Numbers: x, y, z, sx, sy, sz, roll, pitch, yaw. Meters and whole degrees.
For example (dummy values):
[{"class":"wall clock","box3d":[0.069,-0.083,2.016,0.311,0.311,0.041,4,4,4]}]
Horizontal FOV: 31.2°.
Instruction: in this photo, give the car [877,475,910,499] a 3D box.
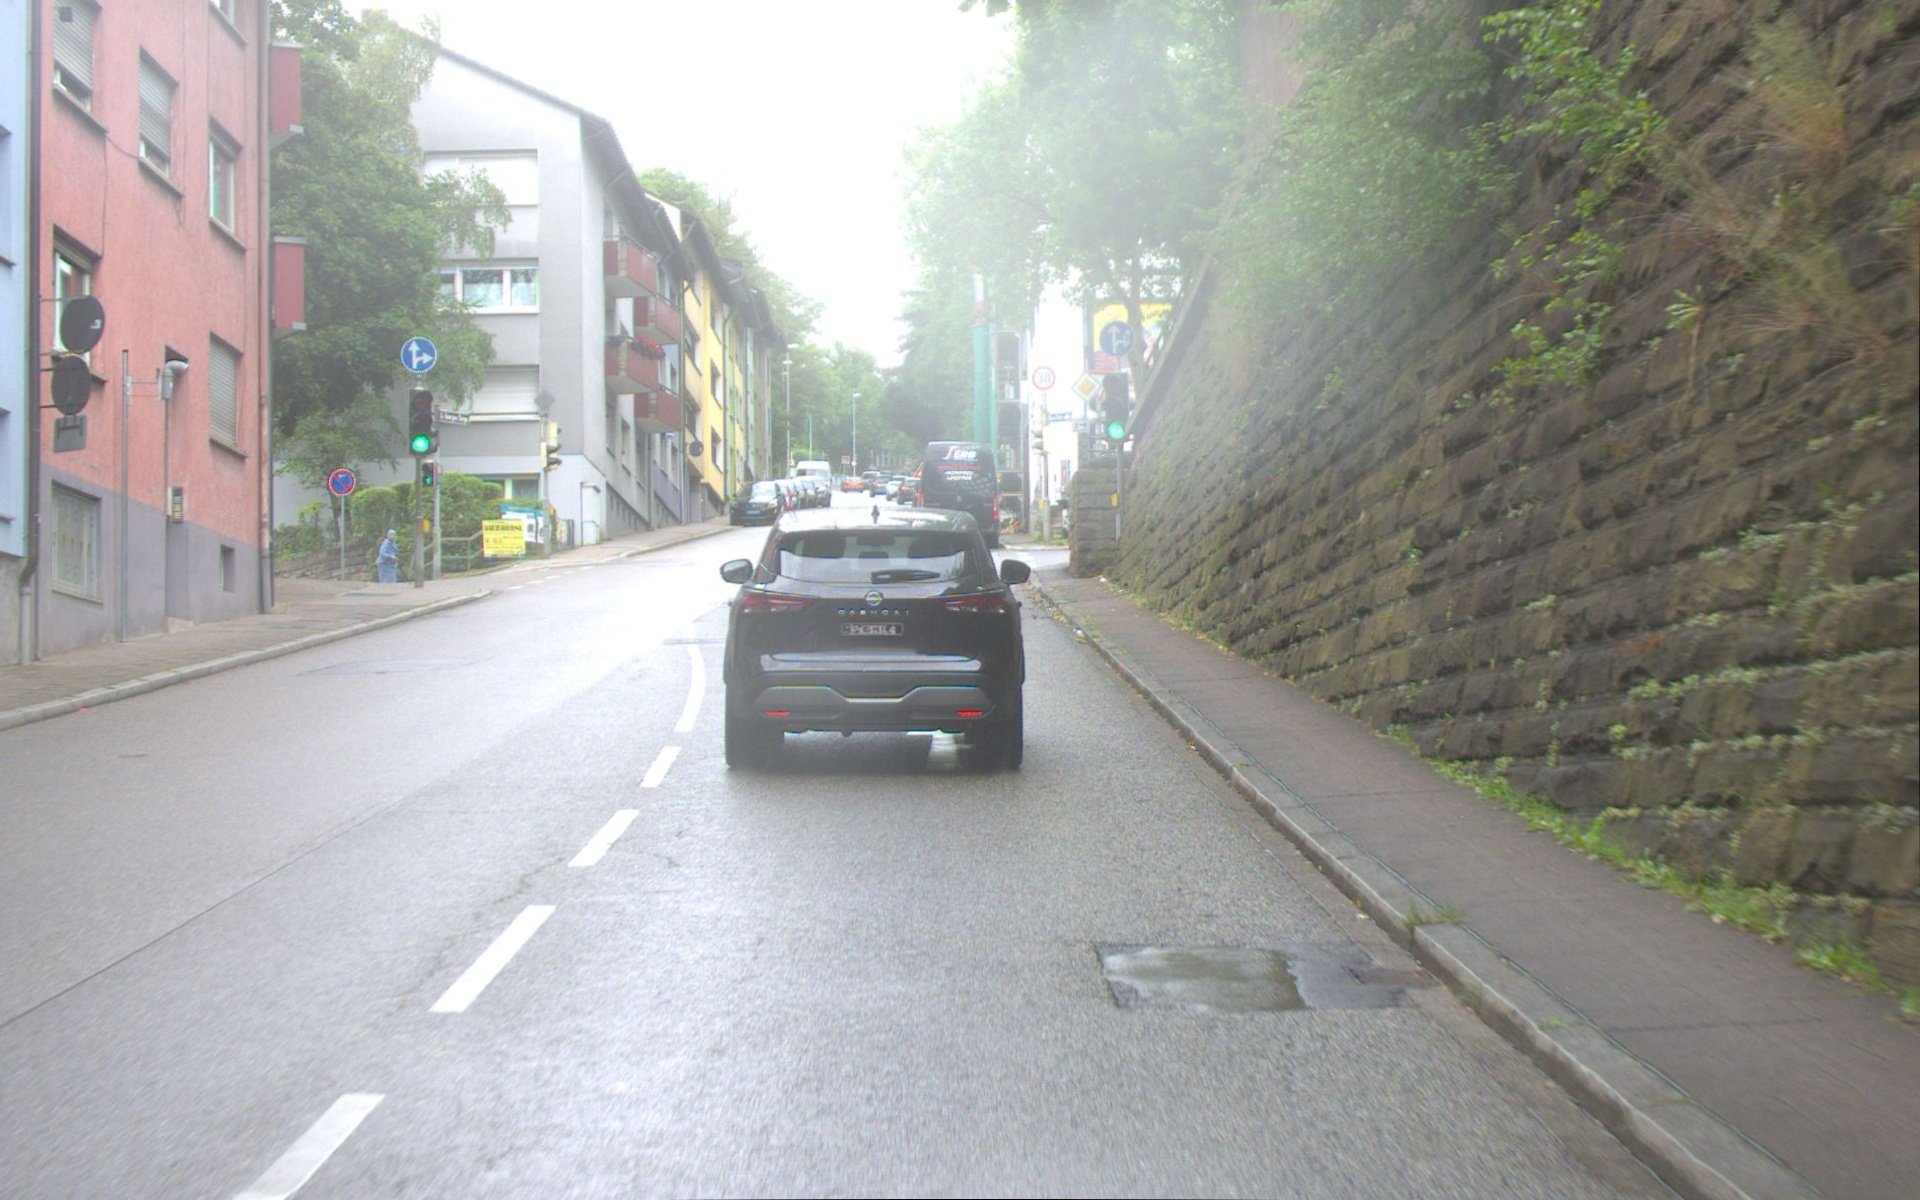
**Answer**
[{"class":"car","box3d":[-4.244,-7.220,219.403,2.074,1.554,4.001,0,2,-2]}]

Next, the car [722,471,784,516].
[{"class":"car","box3d":[-7.953,-4.127,132.348,1.993,1.644,4.442,-1,3,2]}]

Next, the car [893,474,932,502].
[{"class":"car","box3d":[-2.634,-6.197,190.022,2.074,1.554,4.001,0,2,-2]}]

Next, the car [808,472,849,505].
[{"class":"car","box3d":[-6.610,-5.606,172.560,1.990,1.579,4.306,-1,3,-2]}]

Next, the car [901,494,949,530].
[{"class":"car","box3d":[-1.582,-3.948,153.757,2.074,1.554,4.001,0,2,-2]}]

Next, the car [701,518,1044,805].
[{"class":"car","box3d":[-0.536,0.317,22.127,1.993,1.554,4.001,1,3,-1]}]

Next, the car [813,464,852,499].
[{"class":"car","box3d":[-6.675,-6.210,179.829,1.990,1.749,4.481,-1,3,-2]}]

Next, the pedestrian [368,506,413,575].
[{"class":"pedestrian","box3d":[-12.877,-1.348,77.732,0.869,1.536,1.087,1,0,-4]}]

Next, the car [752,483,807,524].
[{"class":"car","box3d":[-7.784,-4.177,148.753,1.993,1.644,4.442,-1,3,2]}]

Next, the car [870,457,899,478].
[{"class":"car","box3d":[-5.466,-9.544,247.443,2.074,1.554,4.001,0,2,-2]}]

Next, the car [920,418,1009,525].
[{"class":"car","box3d":[0.148,-3.128,84.998,1.993,2.405,5.836,1,0,2]}]
